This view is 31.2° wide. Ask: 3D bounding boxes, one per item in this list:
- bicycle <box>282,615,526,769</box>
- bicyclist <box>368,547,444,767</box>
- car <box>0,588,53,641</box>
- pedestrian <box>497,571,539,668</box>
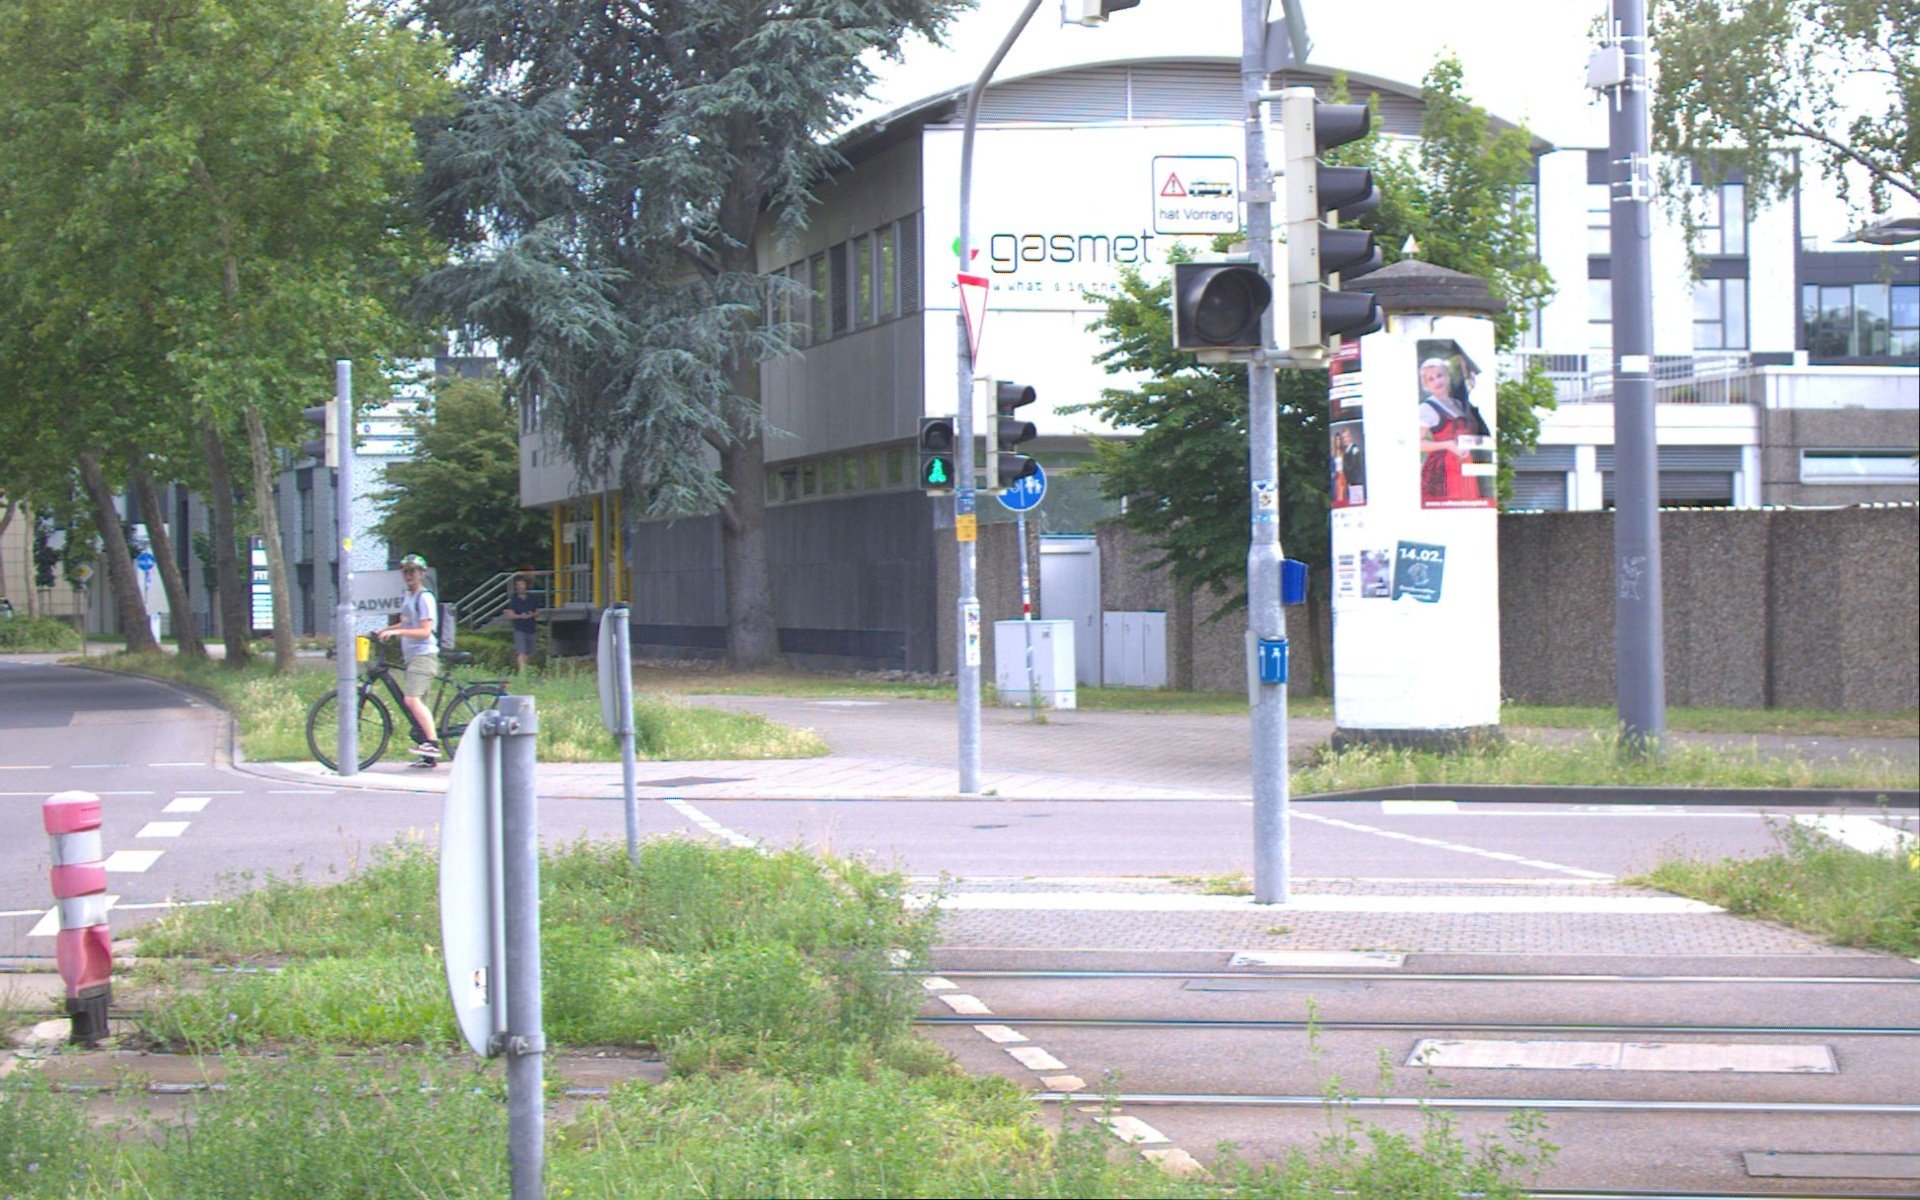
[{"bbox_3d":[-4.624,0.762,28.649,1.945,1.231,0.541,0,2,-3],"label":"bicycle"},{"bbox_3d":[-4.612,0.468,28.637,0.543,1.803,0.541,0,2,-3],"label":"bicyclist"},{"bbox_3d":[-31.588,0.475,114.680,1.993,1.568,4.001,-1,2,-23],"label":"car"},{"bbox_3d":[-7.274,0.311,56.577,0.620,1.564,0.559,-1,2,-12],"label":"pedestrian"}]
